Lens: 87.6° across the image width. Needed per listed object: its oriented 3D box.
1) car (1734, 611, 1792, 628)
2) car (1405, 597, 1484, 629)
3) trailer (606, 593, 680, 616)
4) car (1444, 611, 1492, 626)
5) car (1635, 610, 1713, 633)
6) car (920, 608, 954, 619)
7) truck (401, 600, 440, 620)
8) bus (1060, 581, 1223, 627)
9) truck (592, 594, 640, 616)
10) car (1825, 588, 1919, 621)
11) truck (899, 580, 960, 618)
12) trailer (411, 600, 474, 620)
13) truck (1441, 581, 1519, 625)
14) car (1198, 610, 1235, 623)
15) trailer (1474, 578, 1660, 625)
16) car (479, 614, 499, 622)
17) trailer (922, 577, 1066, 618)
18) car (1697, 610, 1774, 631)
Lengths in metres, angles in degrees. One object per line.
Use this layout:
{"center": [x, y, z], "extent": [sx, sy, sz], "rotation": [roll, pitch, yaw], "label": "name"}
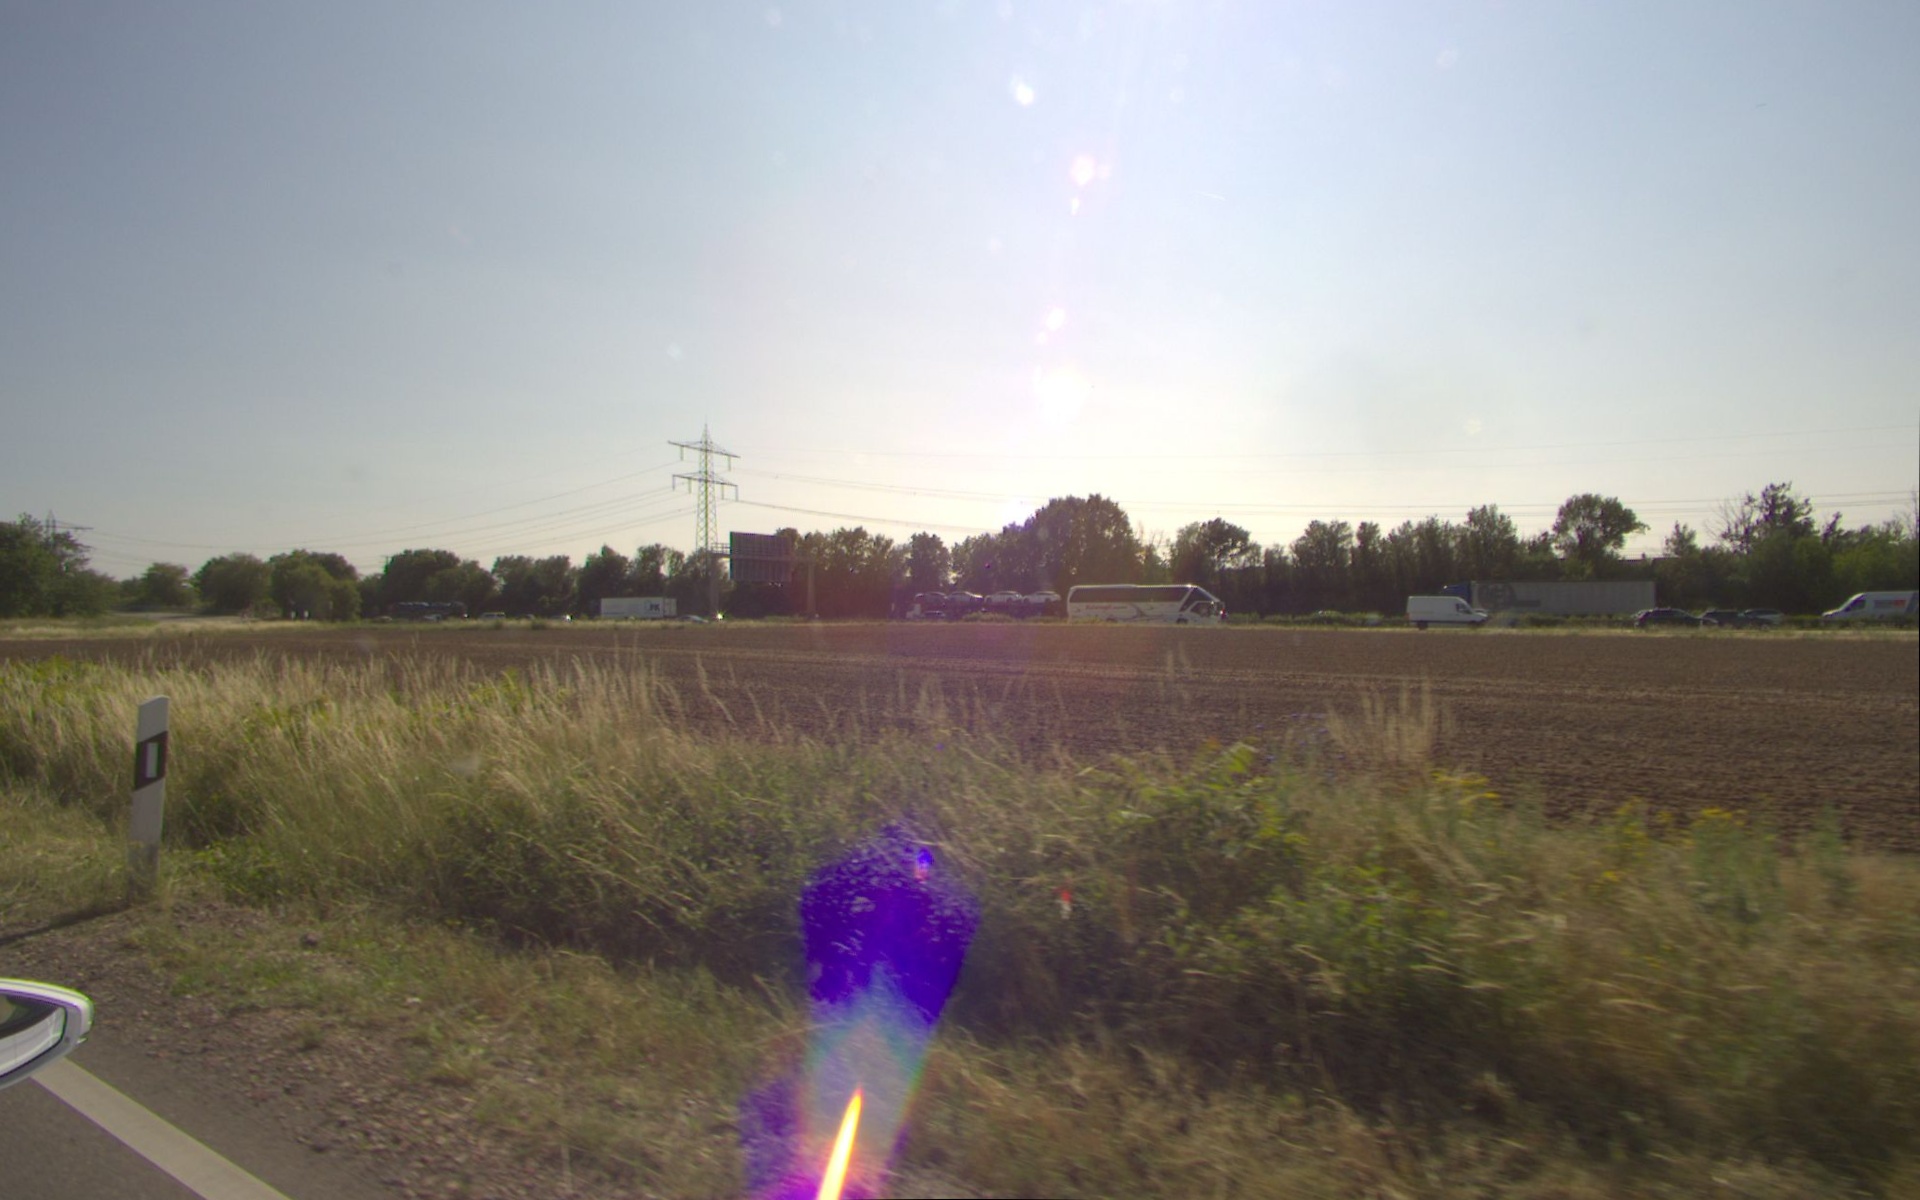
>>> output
{"center": [59.179, 1.439, 73.847], "extent": [3.135, 1.166, 1.392], "rotation": [0, -1, 32], "label": "car"}
{"center": [37.910, 1.021, 78.419], "extent": [5.442, 2.402, 1.990], "rotation": [0, -2, 32], "label": "car"}
{"center": [-47.067, 0.693, 148.549], "extent": [12.274, 3.310, 3.278], "rotation": [-1, 0, 31], "label": "trailer"}
{"center": [42.633, 1.563, 84.033], "extent": [3.531, 1.166, 1.392], "rotation": [0, -1, 33], "label": "car"}
{"center": [47.699, 1.420, 66.992], "extent": [4.150, 1.492, 1.700], "rotation": [-1, -2, 33], "label": "car"}
{"center": [-2.587, 1.546, 112.047], "extent": [3.528, 1.166, 1.393], "rotation": [0, -1, 30], "label": "car"}
{"center": [-95.235, 1.755, 176.757], "extent": [6.334, 3.310, 3.279], "rotation": [0, 0, 31], "label": "truck"}
{"center": [15.960, 0.338, 89.255], "extent": [14.329, 3.854, 2.459], "rotation": [0, 0, 30], "label": "bus"}
{"center": [-52.106, 0.754, 151.606], "extent": [6.877, 3.310, 3.278], "rotation": [-1, 0, 31], "label": "truck"}
{"center": [64.716, 0.311, 70.736], "extent": [5.162, 2.228, 1.902], "rotation": [0, -1, 32], "label": "car"}
{"center": [-3.680, -0.088, 121.145], "extent": [6.607, 4.512, 3.416], "rotation": [-1, 0, 30], "label": "truck"}
{"center": [-89.674, 1.762, 173.354], "extent": [13.255, 3.310, 3.279], "rotation": [0, 0, 31], "label": "trailer"}
{"center": [46.577, 0.278, 89.736], "extent": [6.002, 3.782, 3.065], "rotation": [0, 0, 34], "label": "truck"}
{"center": [24.457, 1.594, 95.492], "extent": [3.135, 1.166, 1.392], "rotation": [0, -1, 32], "label": "car"}
{"center": [51.921, 0.216, 86.141], "extent": [13.440, 3.782, 3.064], "rotation": [0, -1, 34], "label": "trailer"}
{"center": [-73.049, 2.824, 155.347], "extent": [3.135, 1.166, 1.392], "rotation": [0, -1, 32], "label": "car"}
{"center": [3.730, -0.181, 116.776], "extent": [17.303, 4.512, 3.415], "rotation": [-1, 0, 30], "label": "trailer"}
{"center": [53.228, 1.396, 68.830], "extent": [4.036, 1.391, 1.700], "rotation": [-1, -2, 33], "label": "car"}
